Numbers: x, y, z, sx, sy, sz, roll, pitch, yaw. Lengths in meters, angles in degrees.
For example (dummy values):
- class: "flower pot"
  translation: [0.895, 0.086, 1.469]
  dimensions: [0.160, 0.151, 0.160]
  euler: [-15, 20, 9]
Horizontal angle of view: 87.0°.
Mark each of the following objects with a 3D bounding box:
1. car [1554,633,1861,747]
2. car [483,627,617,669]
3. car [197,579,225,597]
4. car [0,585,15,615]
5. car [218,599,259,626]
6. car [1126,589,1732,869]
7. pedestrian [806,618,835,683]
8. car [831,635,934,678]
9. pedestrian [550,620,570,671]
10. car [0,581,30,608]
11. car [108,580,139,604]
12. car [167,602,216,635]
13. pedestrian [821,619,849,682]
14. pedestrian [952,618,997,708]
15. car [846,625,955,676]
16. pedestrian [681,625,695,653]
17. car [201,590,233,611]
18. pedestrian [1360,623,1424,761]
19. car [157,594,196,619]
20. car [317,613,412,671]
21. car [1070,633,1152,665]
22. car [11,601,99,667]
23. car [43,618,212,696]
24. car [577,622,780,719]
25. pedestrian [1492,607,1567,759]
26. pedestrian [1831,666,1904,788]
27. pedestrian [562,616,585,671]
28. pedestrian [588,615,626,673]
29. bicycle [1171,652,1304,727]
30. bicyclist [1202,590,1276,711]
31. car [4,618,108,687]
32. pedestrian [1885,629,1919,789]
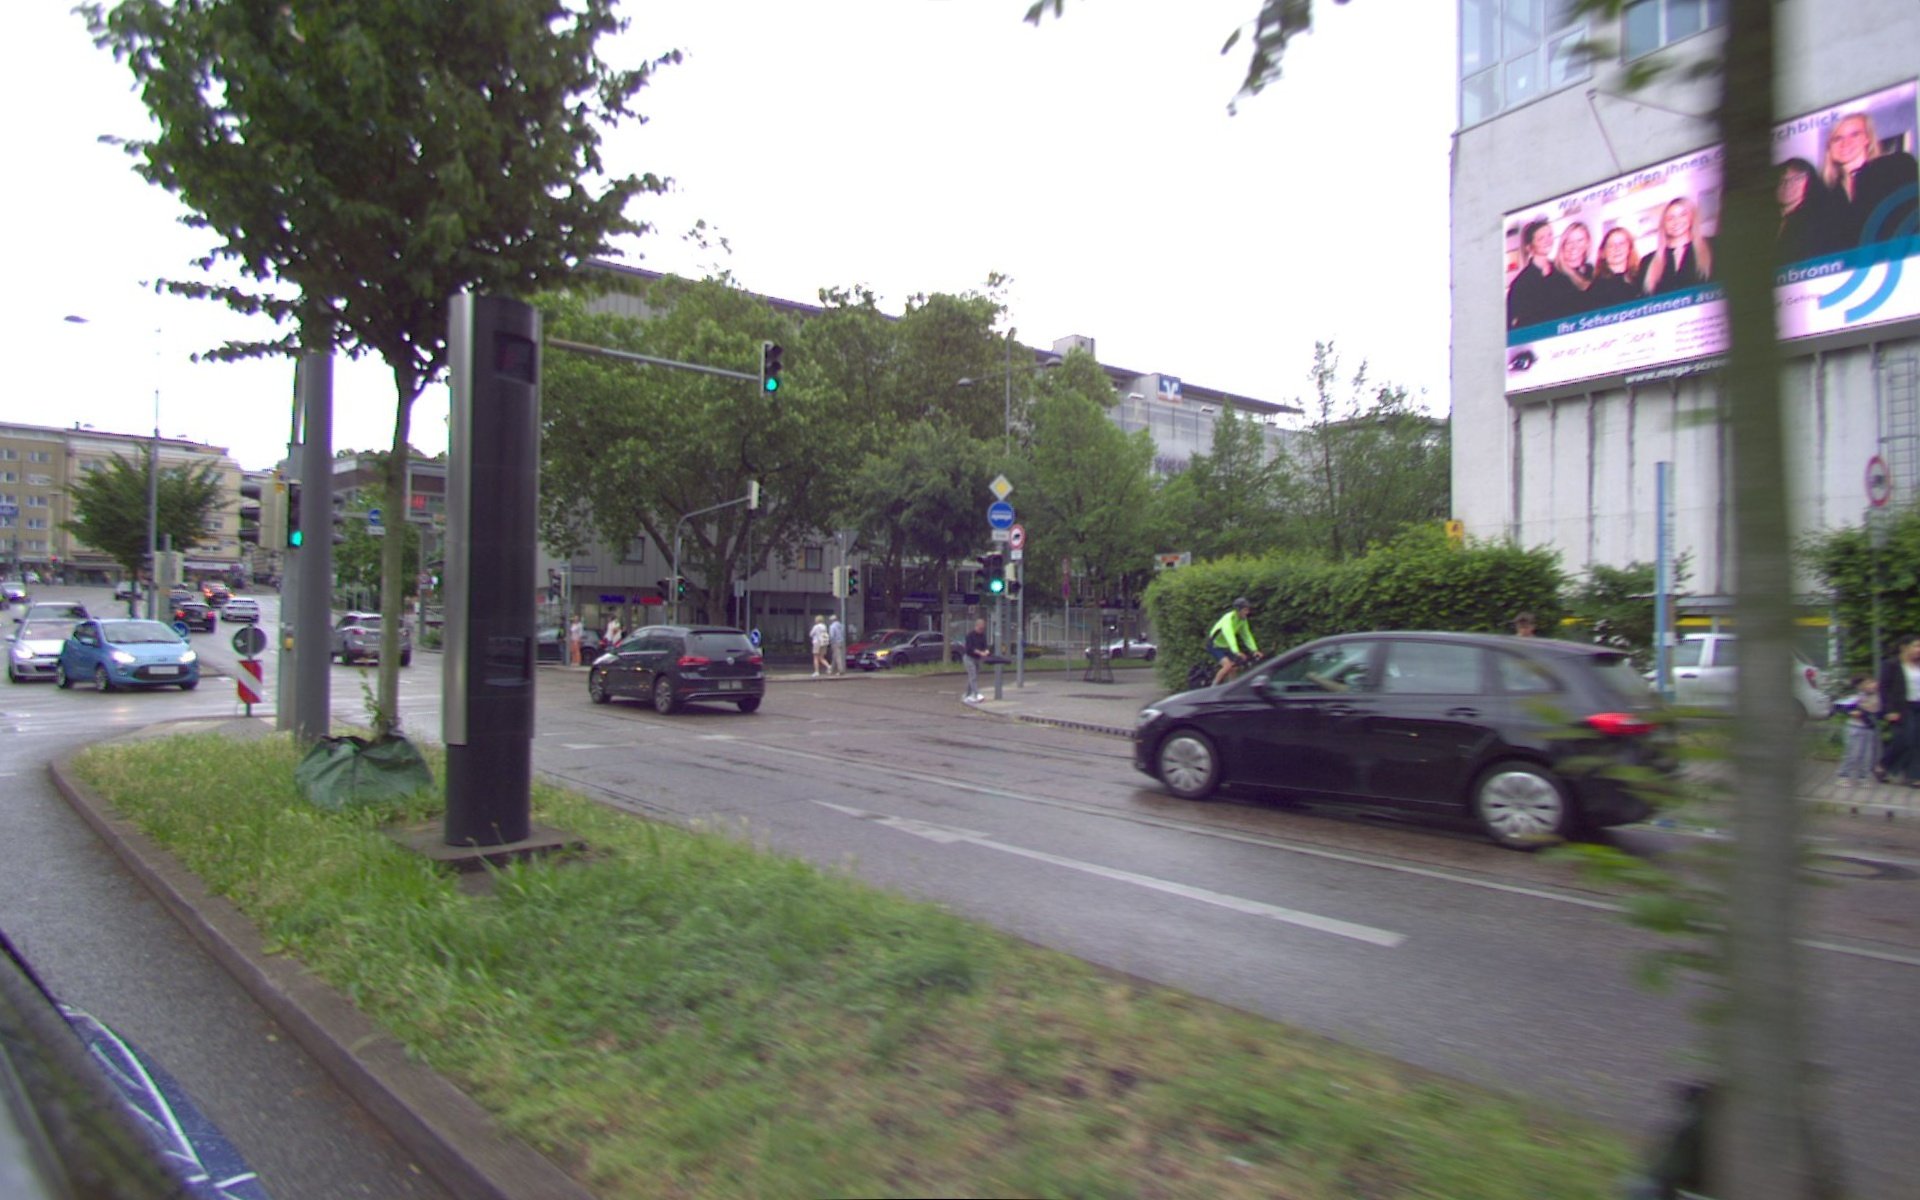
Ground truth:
- class: "car"
  translation: [12.012, 1.373, 16.455]
  dimensions: [3.833, 1.637, 1.578]
  euler: [-2, -4, 40]
- class: "car"
  translation: [-15.554, 1.797, 38.561]
  dimensions: [4.356, 1.406, 1.937]
  euler: [2, -2, -8]
- class: "car"
  translation: [-65.483, -1.082, 88.484]
  dimensions: [1.605, 1.448, 3.653]
  euler: [3, 0, -41]
- class: "car"
  translation: [-61.545, -0.070, 64.345]
  dimensions: [1.804, 1.749, 4.007]
  euler: [3, 0, -40]
- class: "car"
  translation: [-44.091, 0.747, 61.809]
  dimensions: [1.651, 1.527, 3.648]
  euler: [4, -3, -41]
- class: "car"
  translation: [3.685, 0.887, 8.503]
  dimensions: [4.261, 1.749, 1.806]
  euler: [-1, -4, 45]
- class: "pedestrian"
  translation: [-3.880, 1.396, 28.219]
  dimensions: [0.520, 1.777, 0.593]
  euler: [-2, 1, -43]
- class: "car"
  translation: [-2.984, 2.182, 39.677]
  dimensions: [1.701, 1.598, 3.943]
  euler: [-2, -3, 42]
- class: "pedestrian"
  translation: [-14.197, 1.605, 35.911]
  dimensions: [0.406, 1.777, 0.677]
  euler: [2, -4, -43]
- class: "car"
  translation: [-68.454, -0.381, 72.921]
  dimensions: [1.804, 1.749, 4.007]
  euler: [3, 0, -40]
- class: "car"
  translation: [-67.802, -0.679, 82.029]
  dimensions: [1.804, 1.749, 4.007]
  euler: [3, 0, -40]
- class: "car"
  translation: [-38.756, 0.956, 51.021]
  dimensions: [1.603, 1.567, 3.663]
  euler: [2, -3, -43]
- class: "pedestrian"
  translation: [-3.531, 1.433, 28.697]
  dimensions: [0.520, 1.778, 0.593]
  euler: [3, -4, -43]
- class: "pedestrian"
  translation: [0.296, 1.279, 20.772]
  dimensions: [0.593, 1.777, 0.639]
  euler: [3, 0, 44]
- class: "car"
  translation: [-2.052, 1.775, 35.403]
  dimensions: [3.546, 1.709, 1.639]
  euler: [3, -4, -41]
- class: "pedestrian"
  translation: [-16.768, 2.407, 62.446]
  dimensions: [0.612, 1.669, 0.634]
  euler: [2, 0, -35]
- class: "car"
  translation: [-57.156, 0.025, 77.822]
  dimensions: [1.598, 1.503, 3.885]
  euler: [5, -3, -41]
- class: "pedestrian"
  translation: [5.731, 1.193, 13.435]
  dimensions: [0.520, 1.778, 0.631]
  euler: [3, -3, -45]
- class: "car"
  translation: [-52.007, 0.410, 67.147]
  dimensions: [1.692, 1.490, 3.963]
  euler: [5, -3, -42]
- class: "car"
  translation: [-19.536, 1.326, 33.146]
  dimensions: [1.805, 1.749, 4.316]
  euler: [3, -2, -42]
- class: "car"
  translation: [7.900, 2.553, 52.809]
  dimensions: [3.933, 1.567, 1.963]
  euler: [2, -2, -34]
- class: "car"
  translation: [-29.011, 1.009, 32.539]
  dimensions: [1.969, 1.791, 4.893]
  euler: [-1, 2, -41]
- class: "car"
  translation: [-17.485, 1.161, 21.223]
  dimensions: [3.679, 1.485, 1.682]
  euler: [-1, -3, 33]
- class: "car"
  translation: [-5.018, 1.166, 17.719]
  dimensions: [1.736, 1.431, 4.102]
  euler: [5, -3, -42]
- class: "pedestrian"
  translation: [6.965, 0.989, 12.372]
  dimensions: [0.634, 1.777, 0.593]
  euler: [2, 0, -45]
- class: "pedestrian"
  translation: [9.128, 1.256, 10.194]
  dimensions: [0.501, 1.159, 0.464]
  euler: [-2, -3, 40]
- class: "pedestrian"
  translation: [-13.417, 1.512, 35.131]
  dimensions: [0.677, 1.851, 0.441]
  euler: [2, 0, 44]
- class: "pedestrian"
  translation: [-11.939, 1.476, 34.237]
  dimensions: [0.822, 1.921, 0.854]
  euler: [0, -1, 25]
- class: "bicycle"
  translation: [4.543, 1.440, 16.674]
  dimensions: [2.057, 1.119, 0.643]
  euler: [-1, -2, 41]
- class: "bicyclist"
  translation: [4.594, 0.817, 16.660]
  dimensions: [0.953, 1.904, 0.783]
  euler: [-1, -2, 39]
- class: "car"
  translation: [-21.778, 1.193, 24.351]
  dimensions: [1.744, 1.420, 4.004]
  euler: [0, 0, -43]
- class: "pedestrian"
  translation: [9.721, 1.077, 10.152]
  dimensions: [0.565, 1.571, 0.707]
  euler: [-2, -3, 40]
